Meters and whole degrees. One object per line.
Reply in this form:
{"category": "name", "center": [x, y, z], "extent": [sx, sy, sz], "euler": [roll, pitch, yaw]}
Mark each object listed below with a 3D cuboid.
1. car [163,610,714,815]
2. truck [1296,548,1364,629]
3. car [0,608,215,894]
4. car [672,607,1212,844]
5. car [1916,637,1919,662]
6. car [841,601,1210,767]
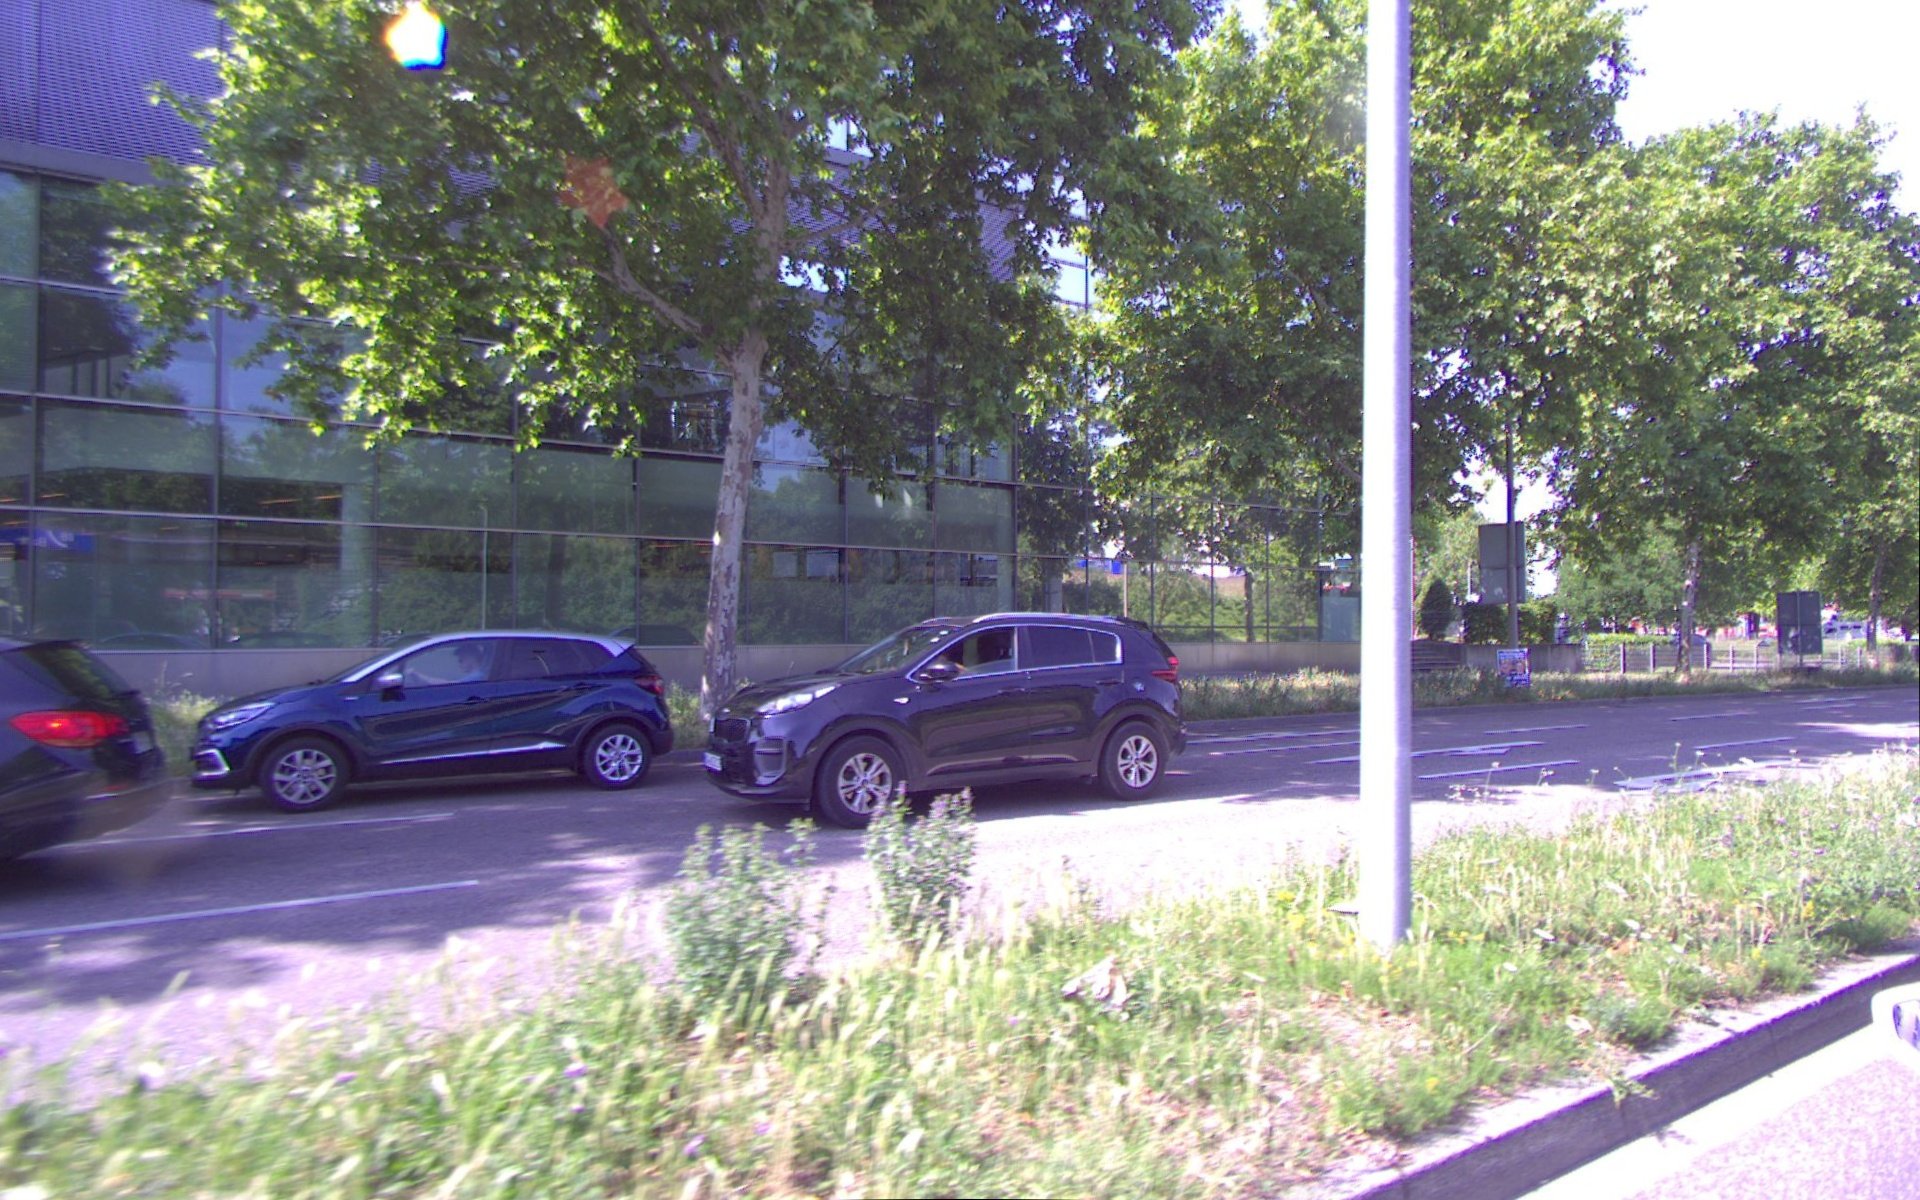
{"category": "car", "center": [-4.850, 0.986, 9.881], "extent": [4.393, 1.611, 1.879], "euler": [1, -4, -30]}
{"category": "truck", "center": [17.612, -0.360, 47.508], "extent": [2.622, 3.440, 8.986], "euler": [0, -2, 23]}
{"category": "car", "center": [-6.805, 0.808, 5.236], "extent": [4.464, 1.481, 1.828], "euler": [1, -4, -30]}
{"category": "car", "center": [-0.086, 0.926, 8.962], "extent": [4.444, 1.632, 1.984], "euler": [1, -2, -31]}
{"category": "car", "center": [71.724, 3.615, 72.117], "extent": [2.128, 1.847, 3.973], "euler": [2, -1, -26]}
{"category": "car", "center": [0.926, 1.017, 13.327], "extent": [4.598, 1.859, 1.984], "euler": [1, -3, -31]}
